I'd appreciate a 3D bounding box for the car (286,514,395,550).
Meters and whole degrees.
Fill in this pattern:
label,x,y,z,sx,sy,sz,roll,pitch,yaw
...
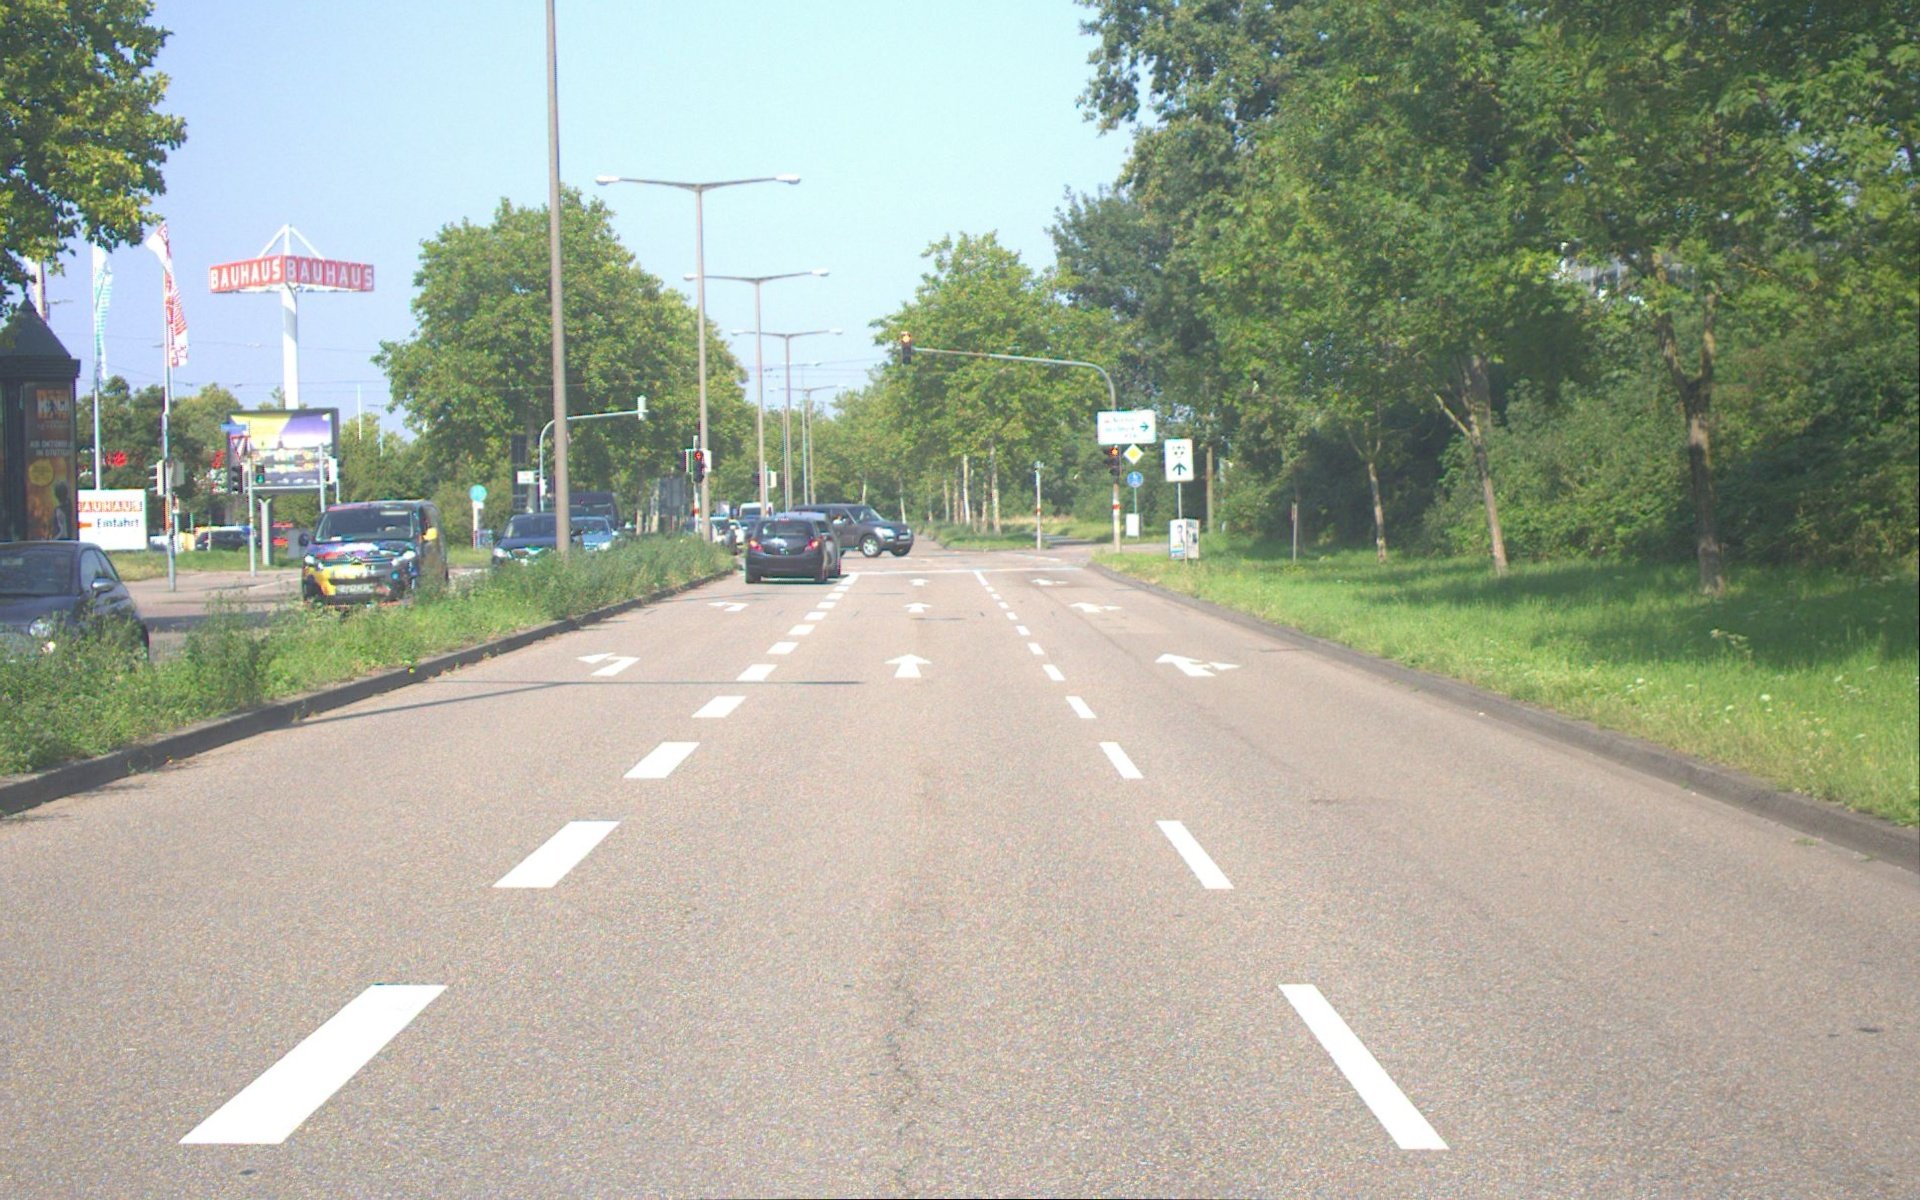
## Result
label,x,y,z,sx,sy,sz,roll,pitch,yaw
car,-21.408,-2.342,118.807,3.376,1.133,1.493,-2,1,8

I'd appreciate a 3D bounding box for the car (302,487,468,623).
label,x,y,z,sx,sy,sz,roll,pitch,yaw
car,-9.148,-0.741,55.052,1.932,2.020,4.567,-2,1,-1

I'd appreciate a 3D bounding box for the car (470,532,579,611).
label,x,y,z,sx,sy,sz,roll,pitch,yaw
car,-9.882,-0.671,78.296,1.993,1.700,4.505,-2,1,-2

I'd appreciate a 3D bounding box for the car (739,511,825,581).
label,x,y,z,sx,sy,sz,roll,pitch,yaw
car,-3.860,-1.190,75.024,1.692,1.480,4.000,0,1,-1

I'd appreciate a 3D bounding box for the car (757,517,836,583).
label,x,y,z,sx,sy,sz,roll,pitch,yaw
car,-3.839,-1.197,81.303,1.692,1.480,4.000,-2,1,-1

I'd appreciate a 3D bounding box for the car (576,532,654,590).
label,x,y,z,sx,sy,sz,roll,pitch,yaw
car,-9.626,-1.103,96.210,1.773,1.568,4.000,0,1,0

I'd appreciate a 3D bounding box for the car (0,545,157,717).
label,x,y,z,sx,sy,sz,roll,pitch,yaw
car,-8.609,0.245,31.661,1.676,1.481,3.493,0,1,-1

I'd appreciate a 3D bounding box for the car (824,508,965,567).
label,x,y,z,sx,sy,sz,roll,pitch,yaw
car,-2.162,-2.088,114.429,4.269,1.829,1.911,-1,1,18
